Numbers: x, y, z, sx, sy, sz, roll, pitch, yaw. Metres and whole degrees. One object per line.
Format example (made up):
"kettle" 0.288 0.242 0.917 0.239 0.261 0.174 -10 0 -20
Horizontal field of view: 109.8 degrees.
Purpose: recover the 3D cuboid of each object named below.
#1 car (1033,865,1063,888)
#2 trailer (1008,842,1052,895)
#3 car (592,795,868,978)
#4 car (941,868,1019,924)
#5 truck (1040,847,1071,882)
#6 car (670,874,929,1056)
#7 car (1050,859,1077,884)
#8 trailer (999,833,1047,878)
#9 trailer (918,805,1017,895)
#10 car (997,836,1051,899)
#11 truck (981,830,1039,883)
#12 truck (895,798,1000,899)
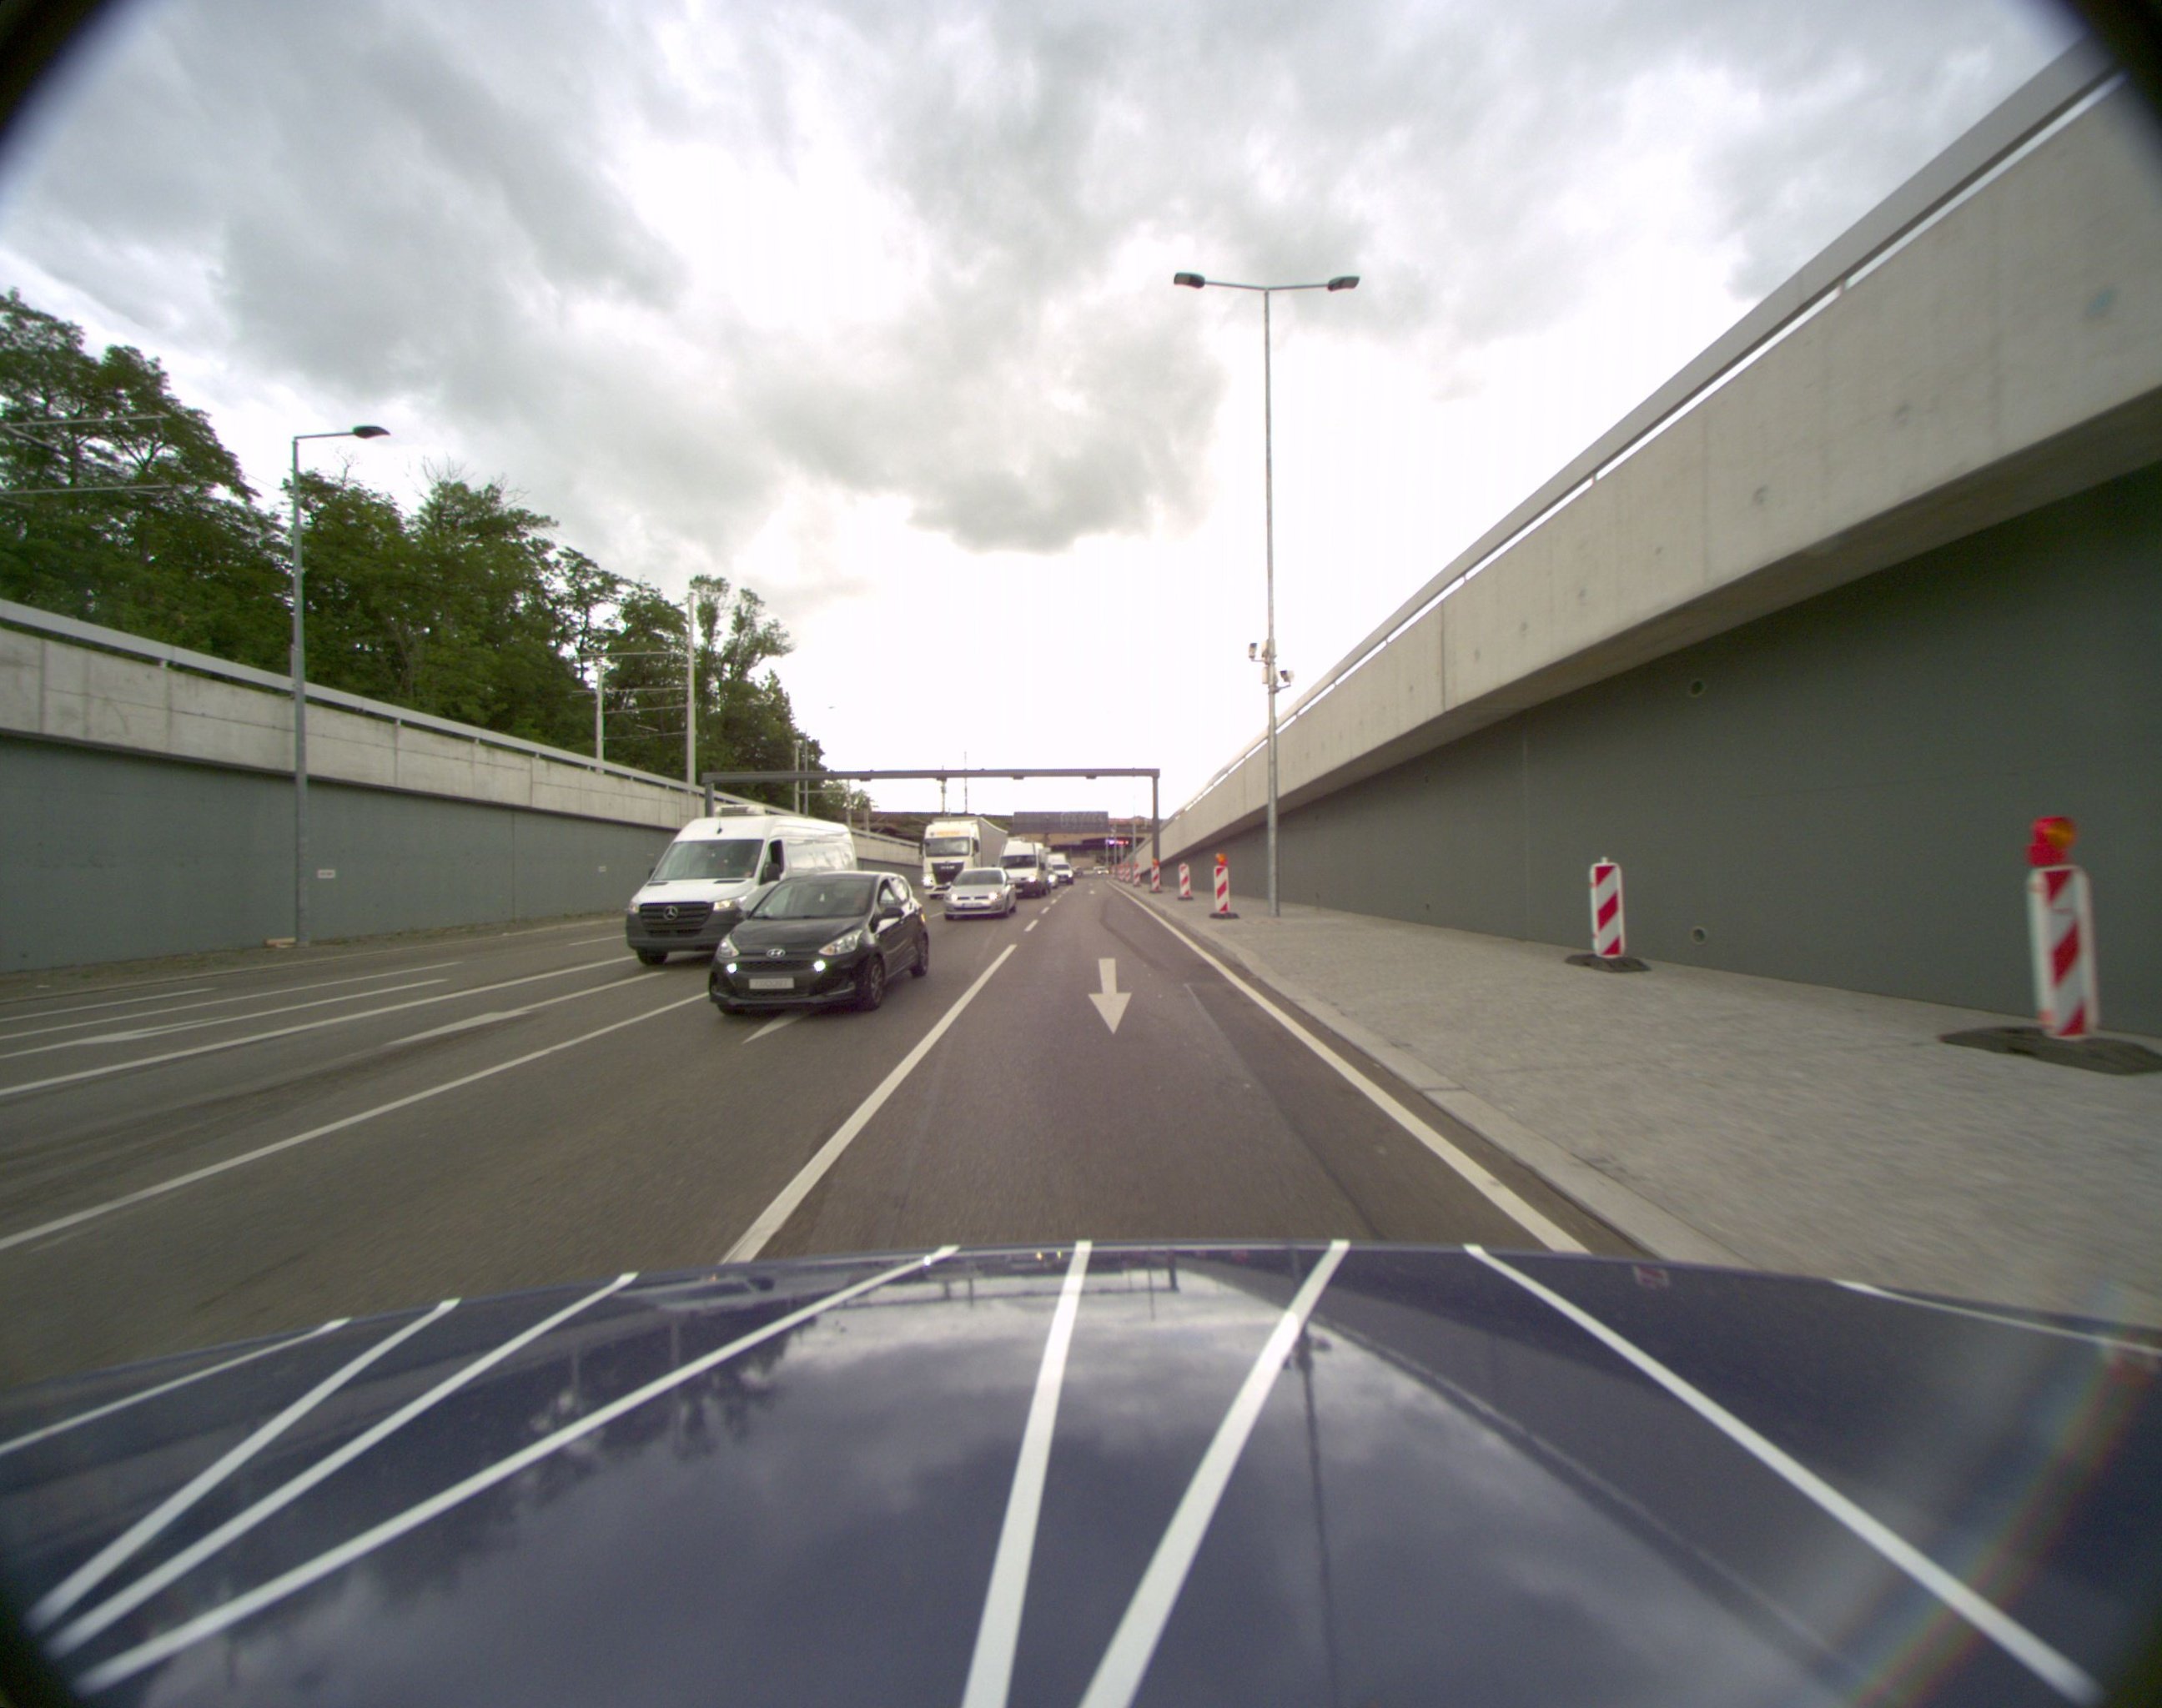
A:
"car" -2.196 1.471 51.535 1.720 1.390 4.347 -2 0 1
"trailer" -2.672 0.810 40.682 2.109 2.622 4.811 0 -2 -1
"car" -6.419 0.559 15.345 2.080 2.756 7.327 -2 -1 0
"car" -2.874 1.158 22.432 1.768 1.375 4.038 -1 0 0
"truck" -3.039 1.181 89.050 3.033 3.566 8.947 -5 0 -4
"car" -3.017 1.095 9.014 1.686 1.536 3.692 -3 0 -1
"car" -1.458 1.457 64.416 1.998 1.978 5.200 -3 0 0
"trailer" -5.704 0.229 77.507 3.734 4.117 10.984 -3 -1 1
"trailer" -6.610 -0.150 46.741 3.814 4.603 12.116 -3 -1 1
"car" -2.632 0.699 36.634 2.063 2.611 5.943 -5 -2 -1
"truck" -6.030 0.247 66.525 3.734 4.117 10.984 -3 -1 1
"truck" -6.742 -0.231 39.763 3.814 4.603 7.443 -3 -1 1
